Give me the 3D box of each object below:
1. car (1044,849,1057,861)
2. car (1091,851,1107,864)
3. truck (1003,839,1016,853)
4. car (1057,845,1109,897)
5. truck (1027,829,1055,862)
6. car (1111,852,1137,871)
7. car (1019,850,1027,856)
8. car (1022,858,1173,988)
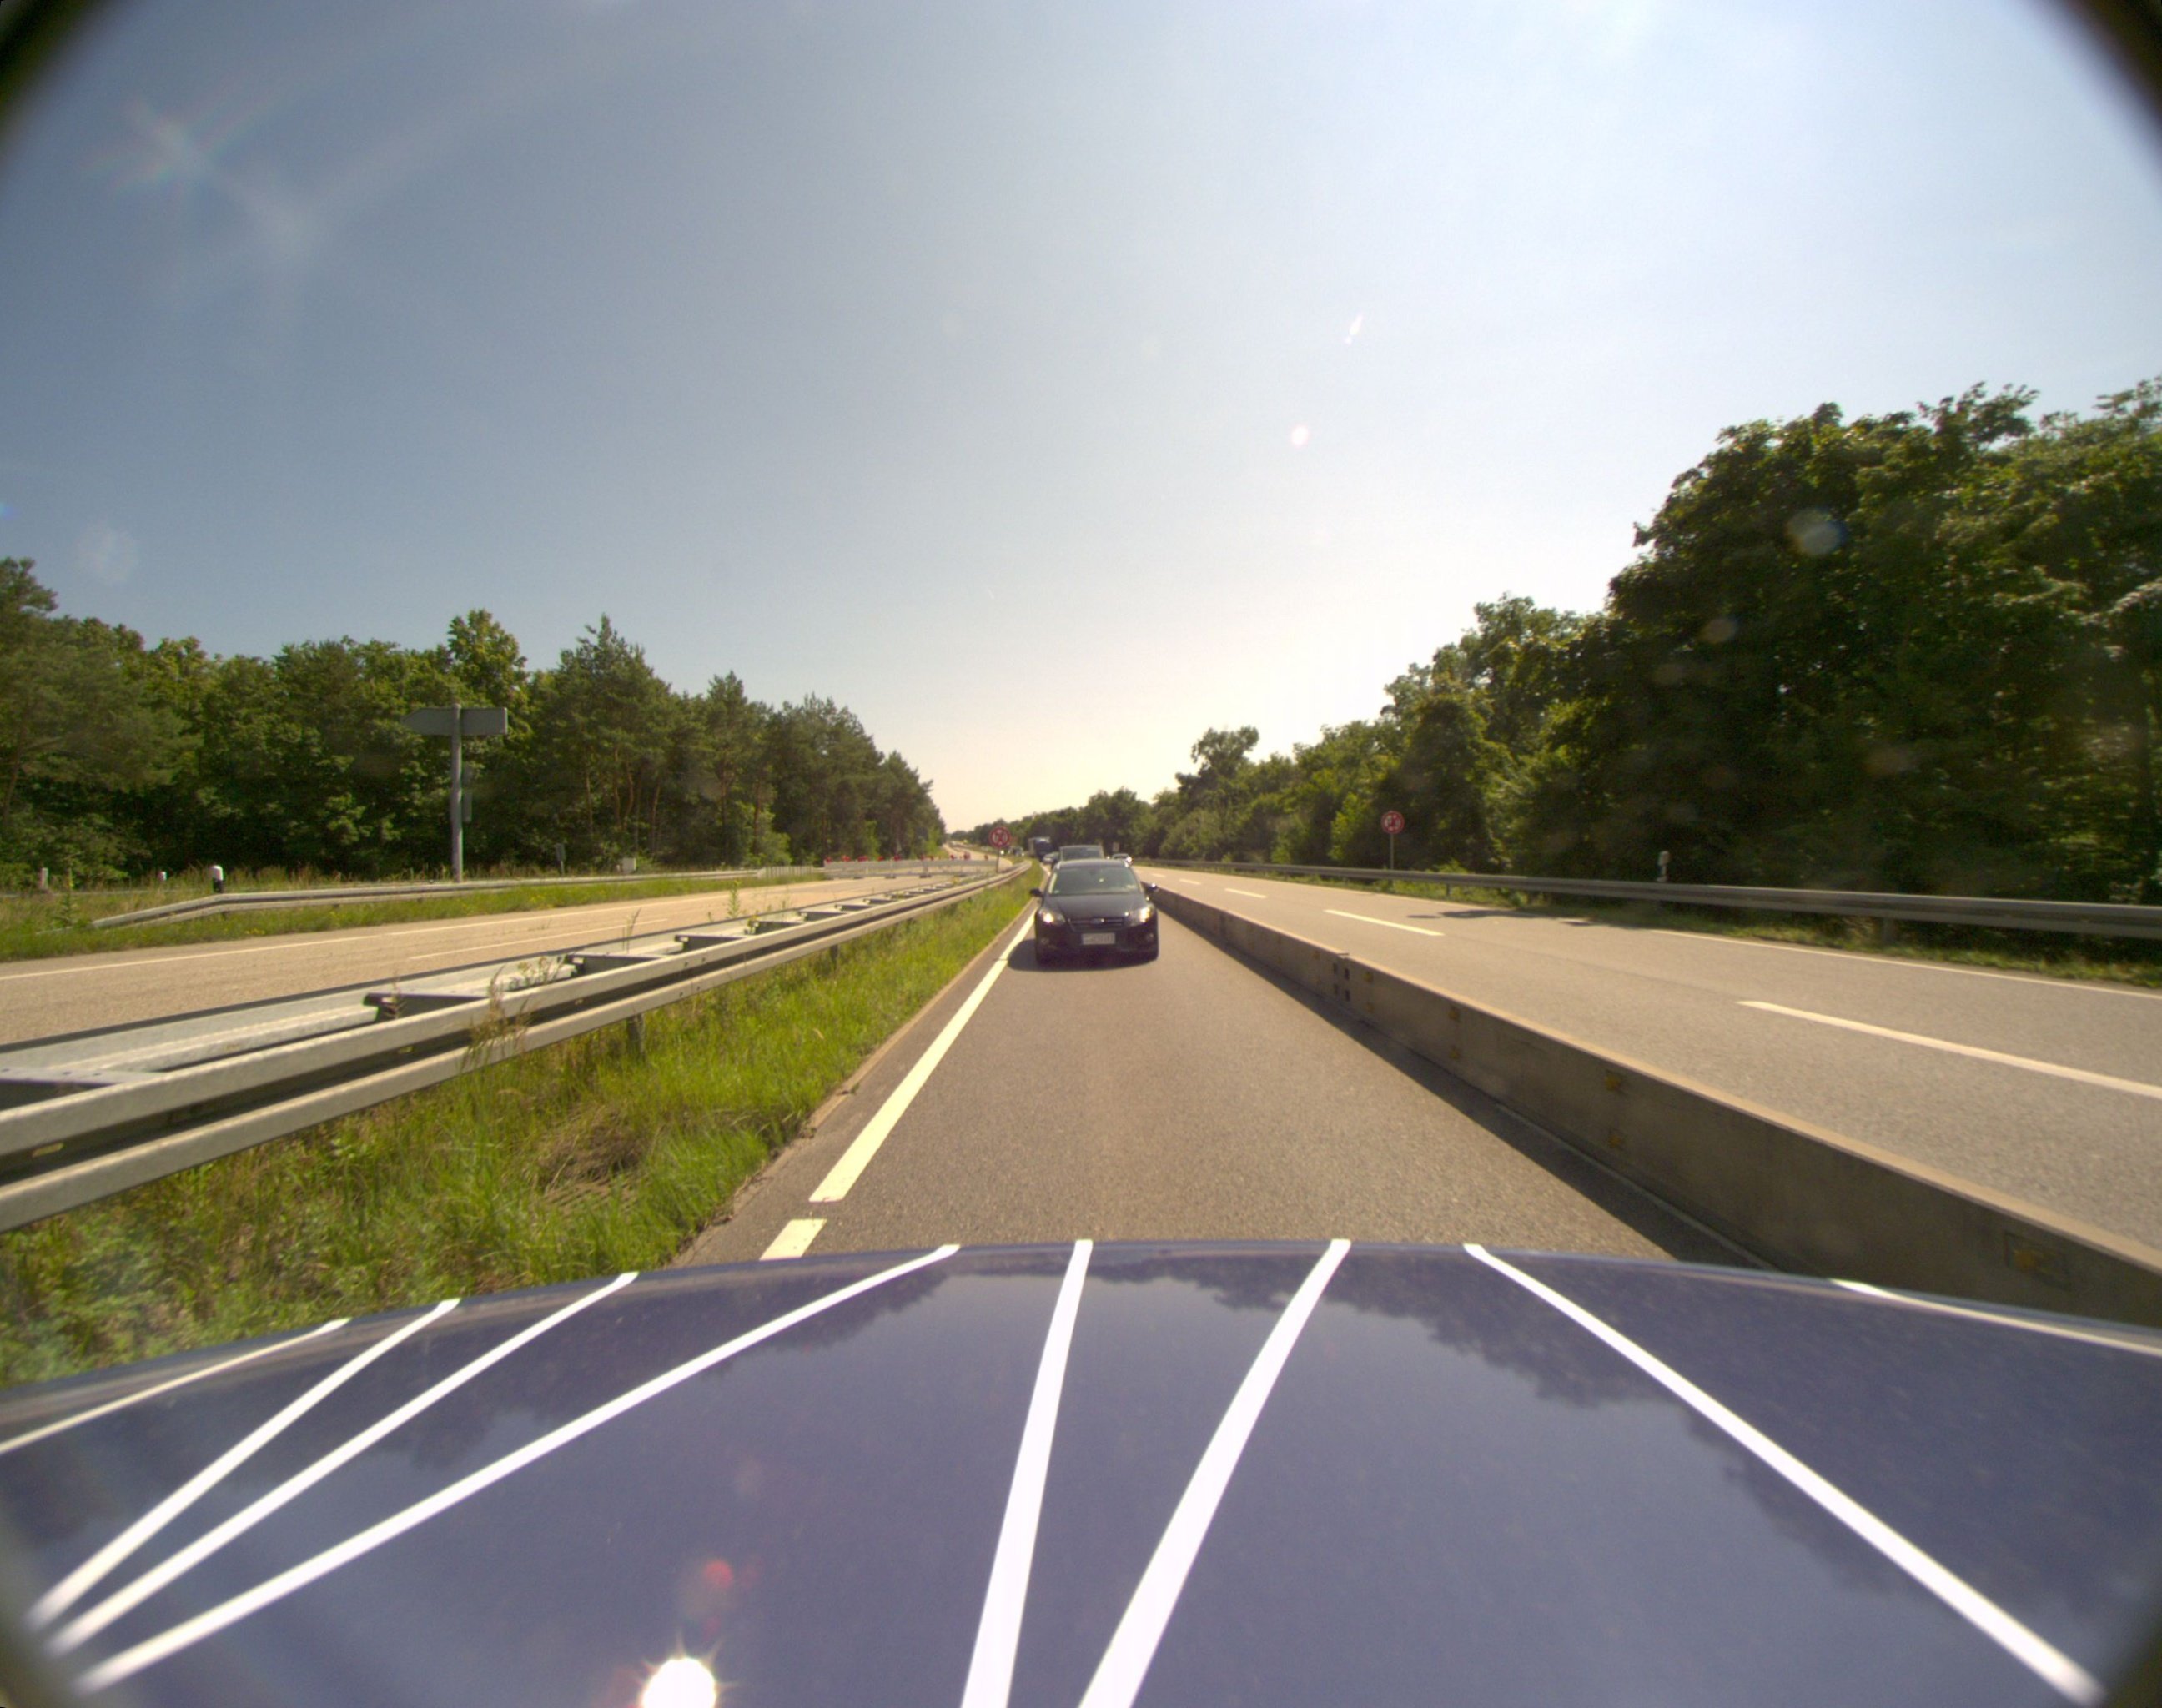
[{"bbox_3d":[-4.240,0.137,105.446,1.528,1.647,3.752,0,0,-5],"label":"car"},{"bbox_3d":[2.285,0.420,95.294,1.834,1.620,3.784,-1,0,-1],"label":"car"},{"bbox_3d":[-21.877,-2.460,232.153,3.831,4.265,11.240,-1,0,-5],"label":"truck"},{"bbox_3d":[0.053,0.626,31.886,1.960,1.902,4.933,-2,2,-1],"label":"car"},{"bbox_3d":[-6.902,-1.412,129.185,3.832,5.266,11.237,-1,0,-8],"label":"truck"},{"bbox_3d":[3.625,0.622,64.512,1.953,1.569,4.435,-1,0,1],"label":"car"},{"bbox_3d":[-14.168,-0.240,185.207,1.528,1.647,3.977,0,0,-9],"label":"car"},{"bbox_3d":[0.246,0.877,11.965,1.846,1.537,4.935,-2,0,1],"label":"car"}]
